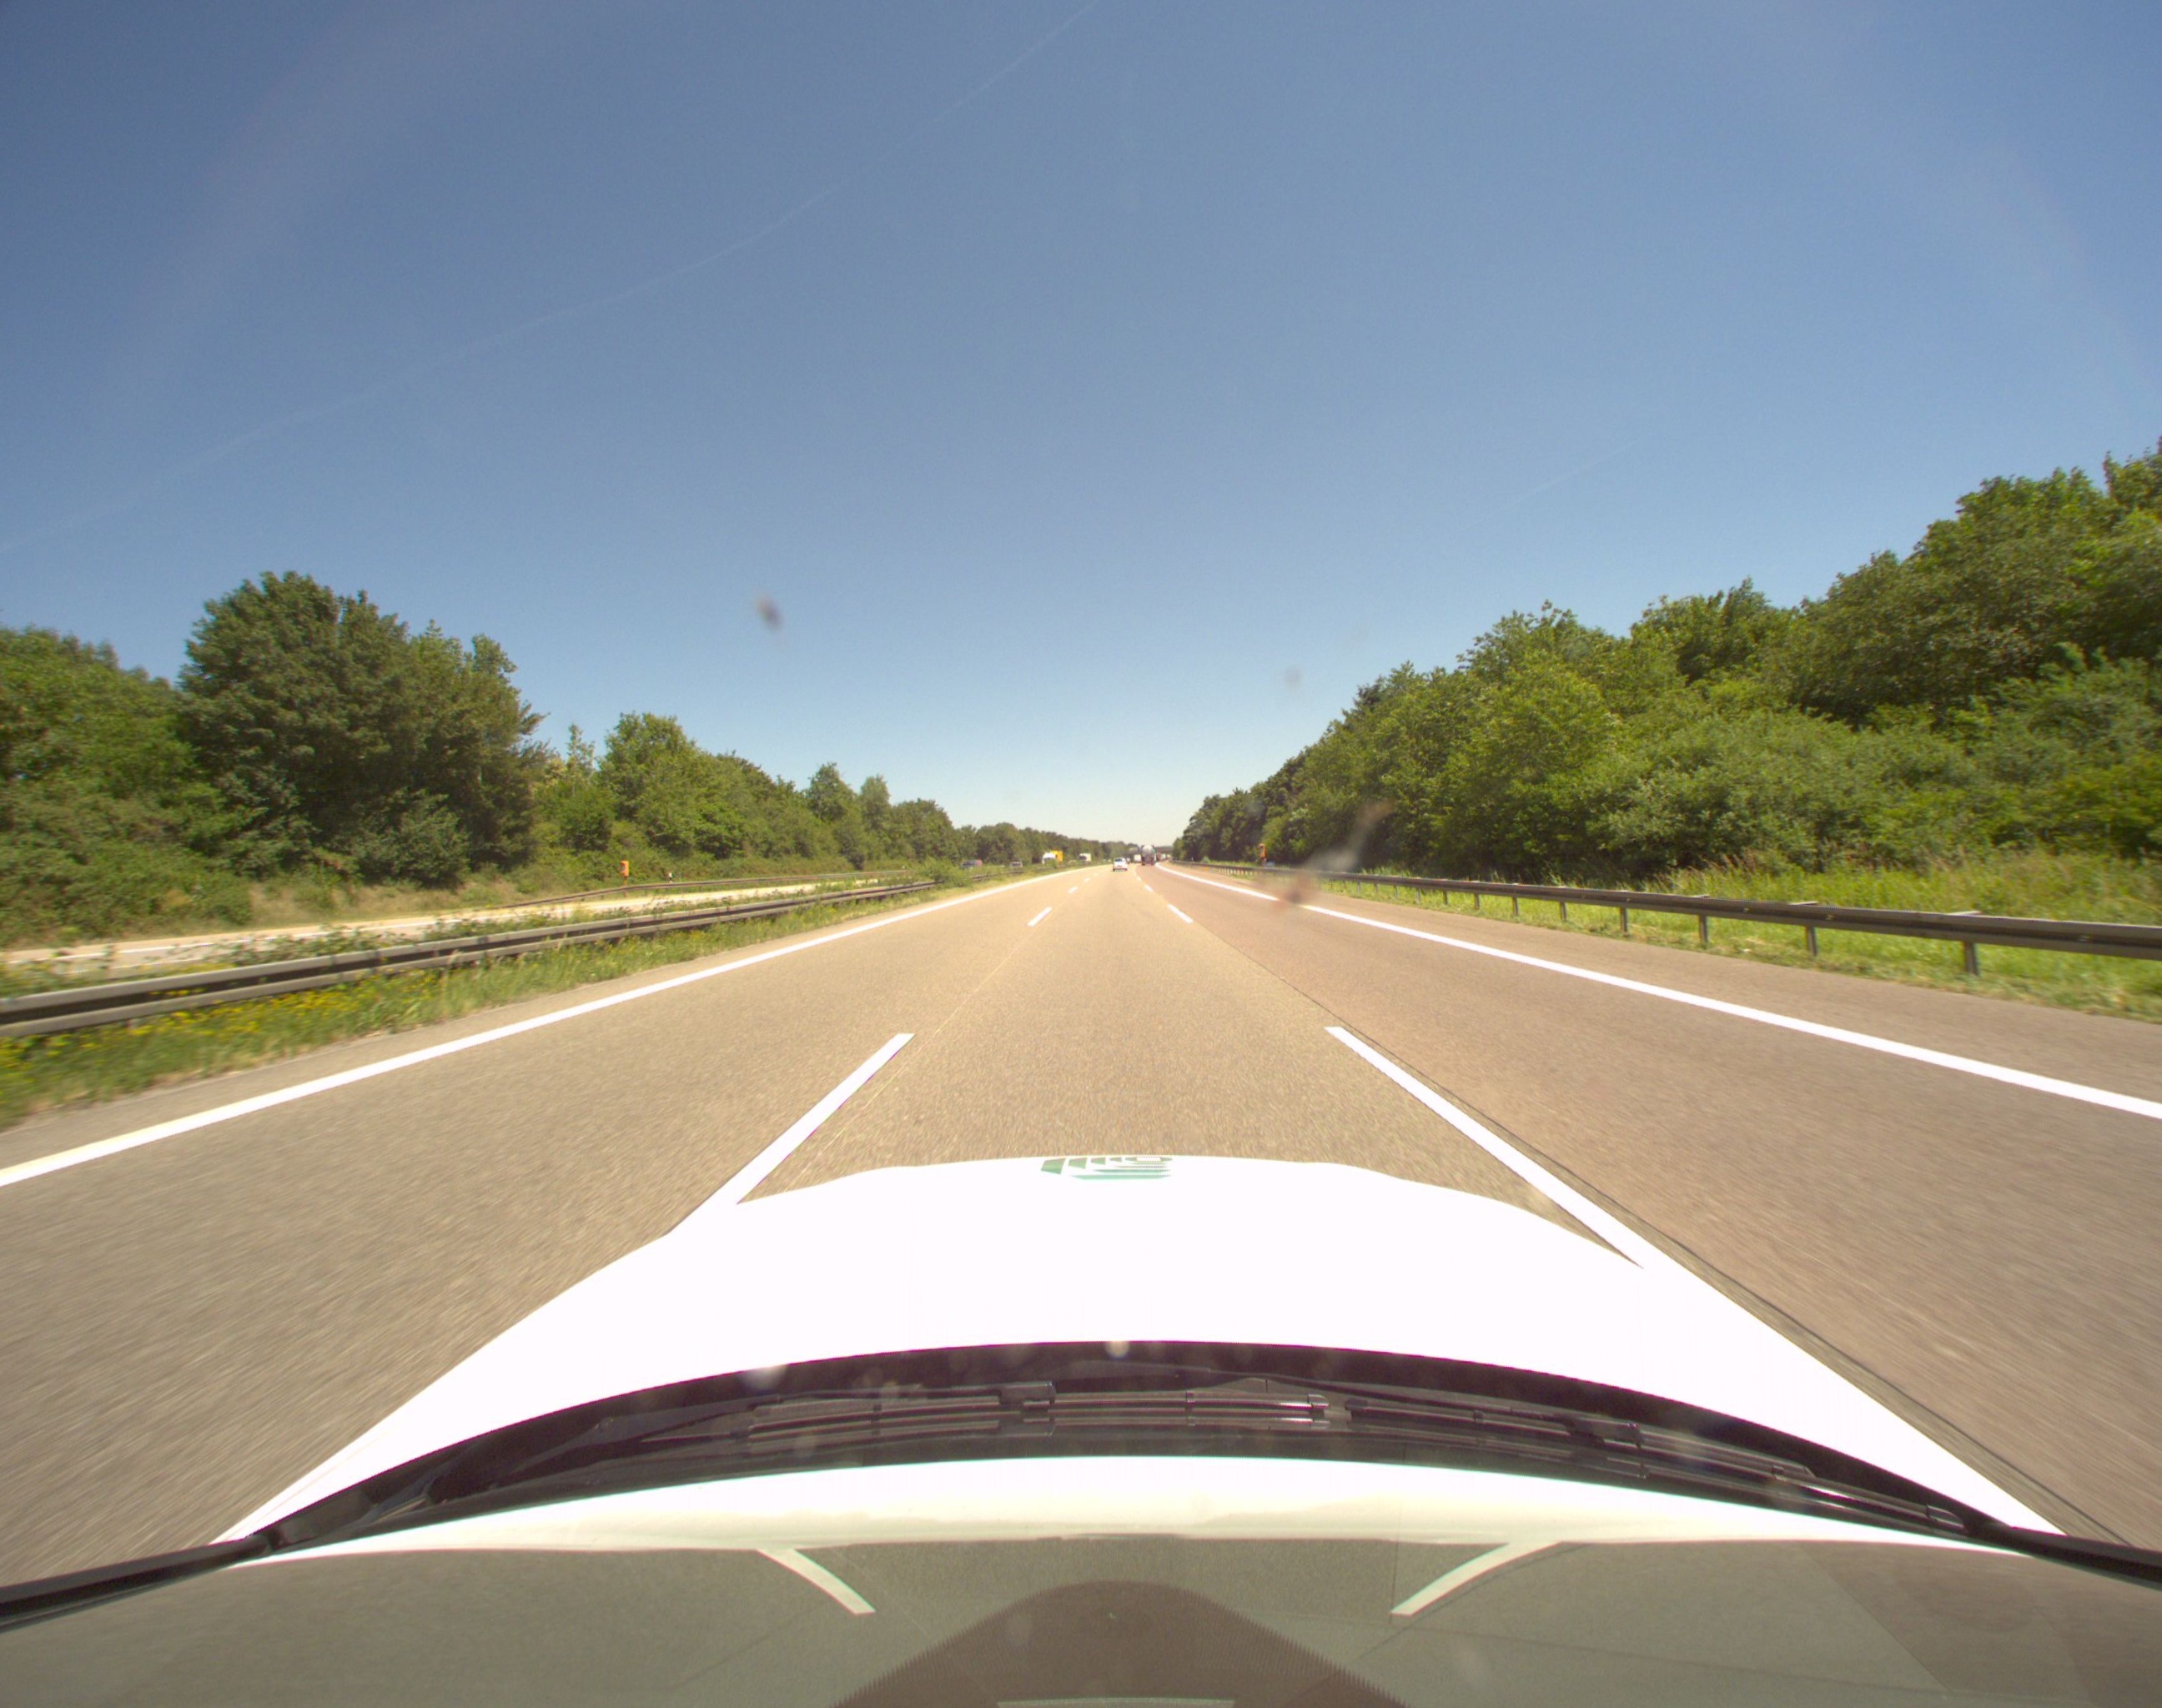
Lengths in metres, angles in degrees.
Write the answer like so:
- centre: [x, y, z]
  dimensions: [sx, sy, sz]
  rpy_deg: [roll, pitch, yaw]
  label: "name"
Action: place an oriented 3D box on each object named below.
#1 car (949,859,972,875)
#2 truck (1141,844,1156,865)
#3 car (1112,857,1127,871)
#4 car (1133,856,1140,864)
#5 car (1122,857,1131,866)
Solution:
- centre: [-13.393, 1.417, 90.981]
  dimensions: [1.659, 1.754, 4.005]
  rpy_deg: [-2, 0, 4]
  label: "car"
- centre: [13.576, 0.142, 162.334]
  dimensions: [2.726, 4.052, 10.470]
  rpy_deg: [-2, -1, 5]
  label: "truck"
- centre: [4.555, 1.191, 96.664]
  dimensions: [1.621, 1.479, 4.002]
  rpy_deg: [-2, -1, 2]
  label: "car"
- centre: [16.440, 1.726, 239.580]
  dimensions: [1.984, 2.343, 4.392]
  rpy_deg: [-2, 0, 4]
  label: "car"
- centre: [11.153, 1.814, 200.754]
  dimensions: [1.984, 2.013, 4.005]
  rpy_deg: [-3, 0, 4]
  label: "car"
